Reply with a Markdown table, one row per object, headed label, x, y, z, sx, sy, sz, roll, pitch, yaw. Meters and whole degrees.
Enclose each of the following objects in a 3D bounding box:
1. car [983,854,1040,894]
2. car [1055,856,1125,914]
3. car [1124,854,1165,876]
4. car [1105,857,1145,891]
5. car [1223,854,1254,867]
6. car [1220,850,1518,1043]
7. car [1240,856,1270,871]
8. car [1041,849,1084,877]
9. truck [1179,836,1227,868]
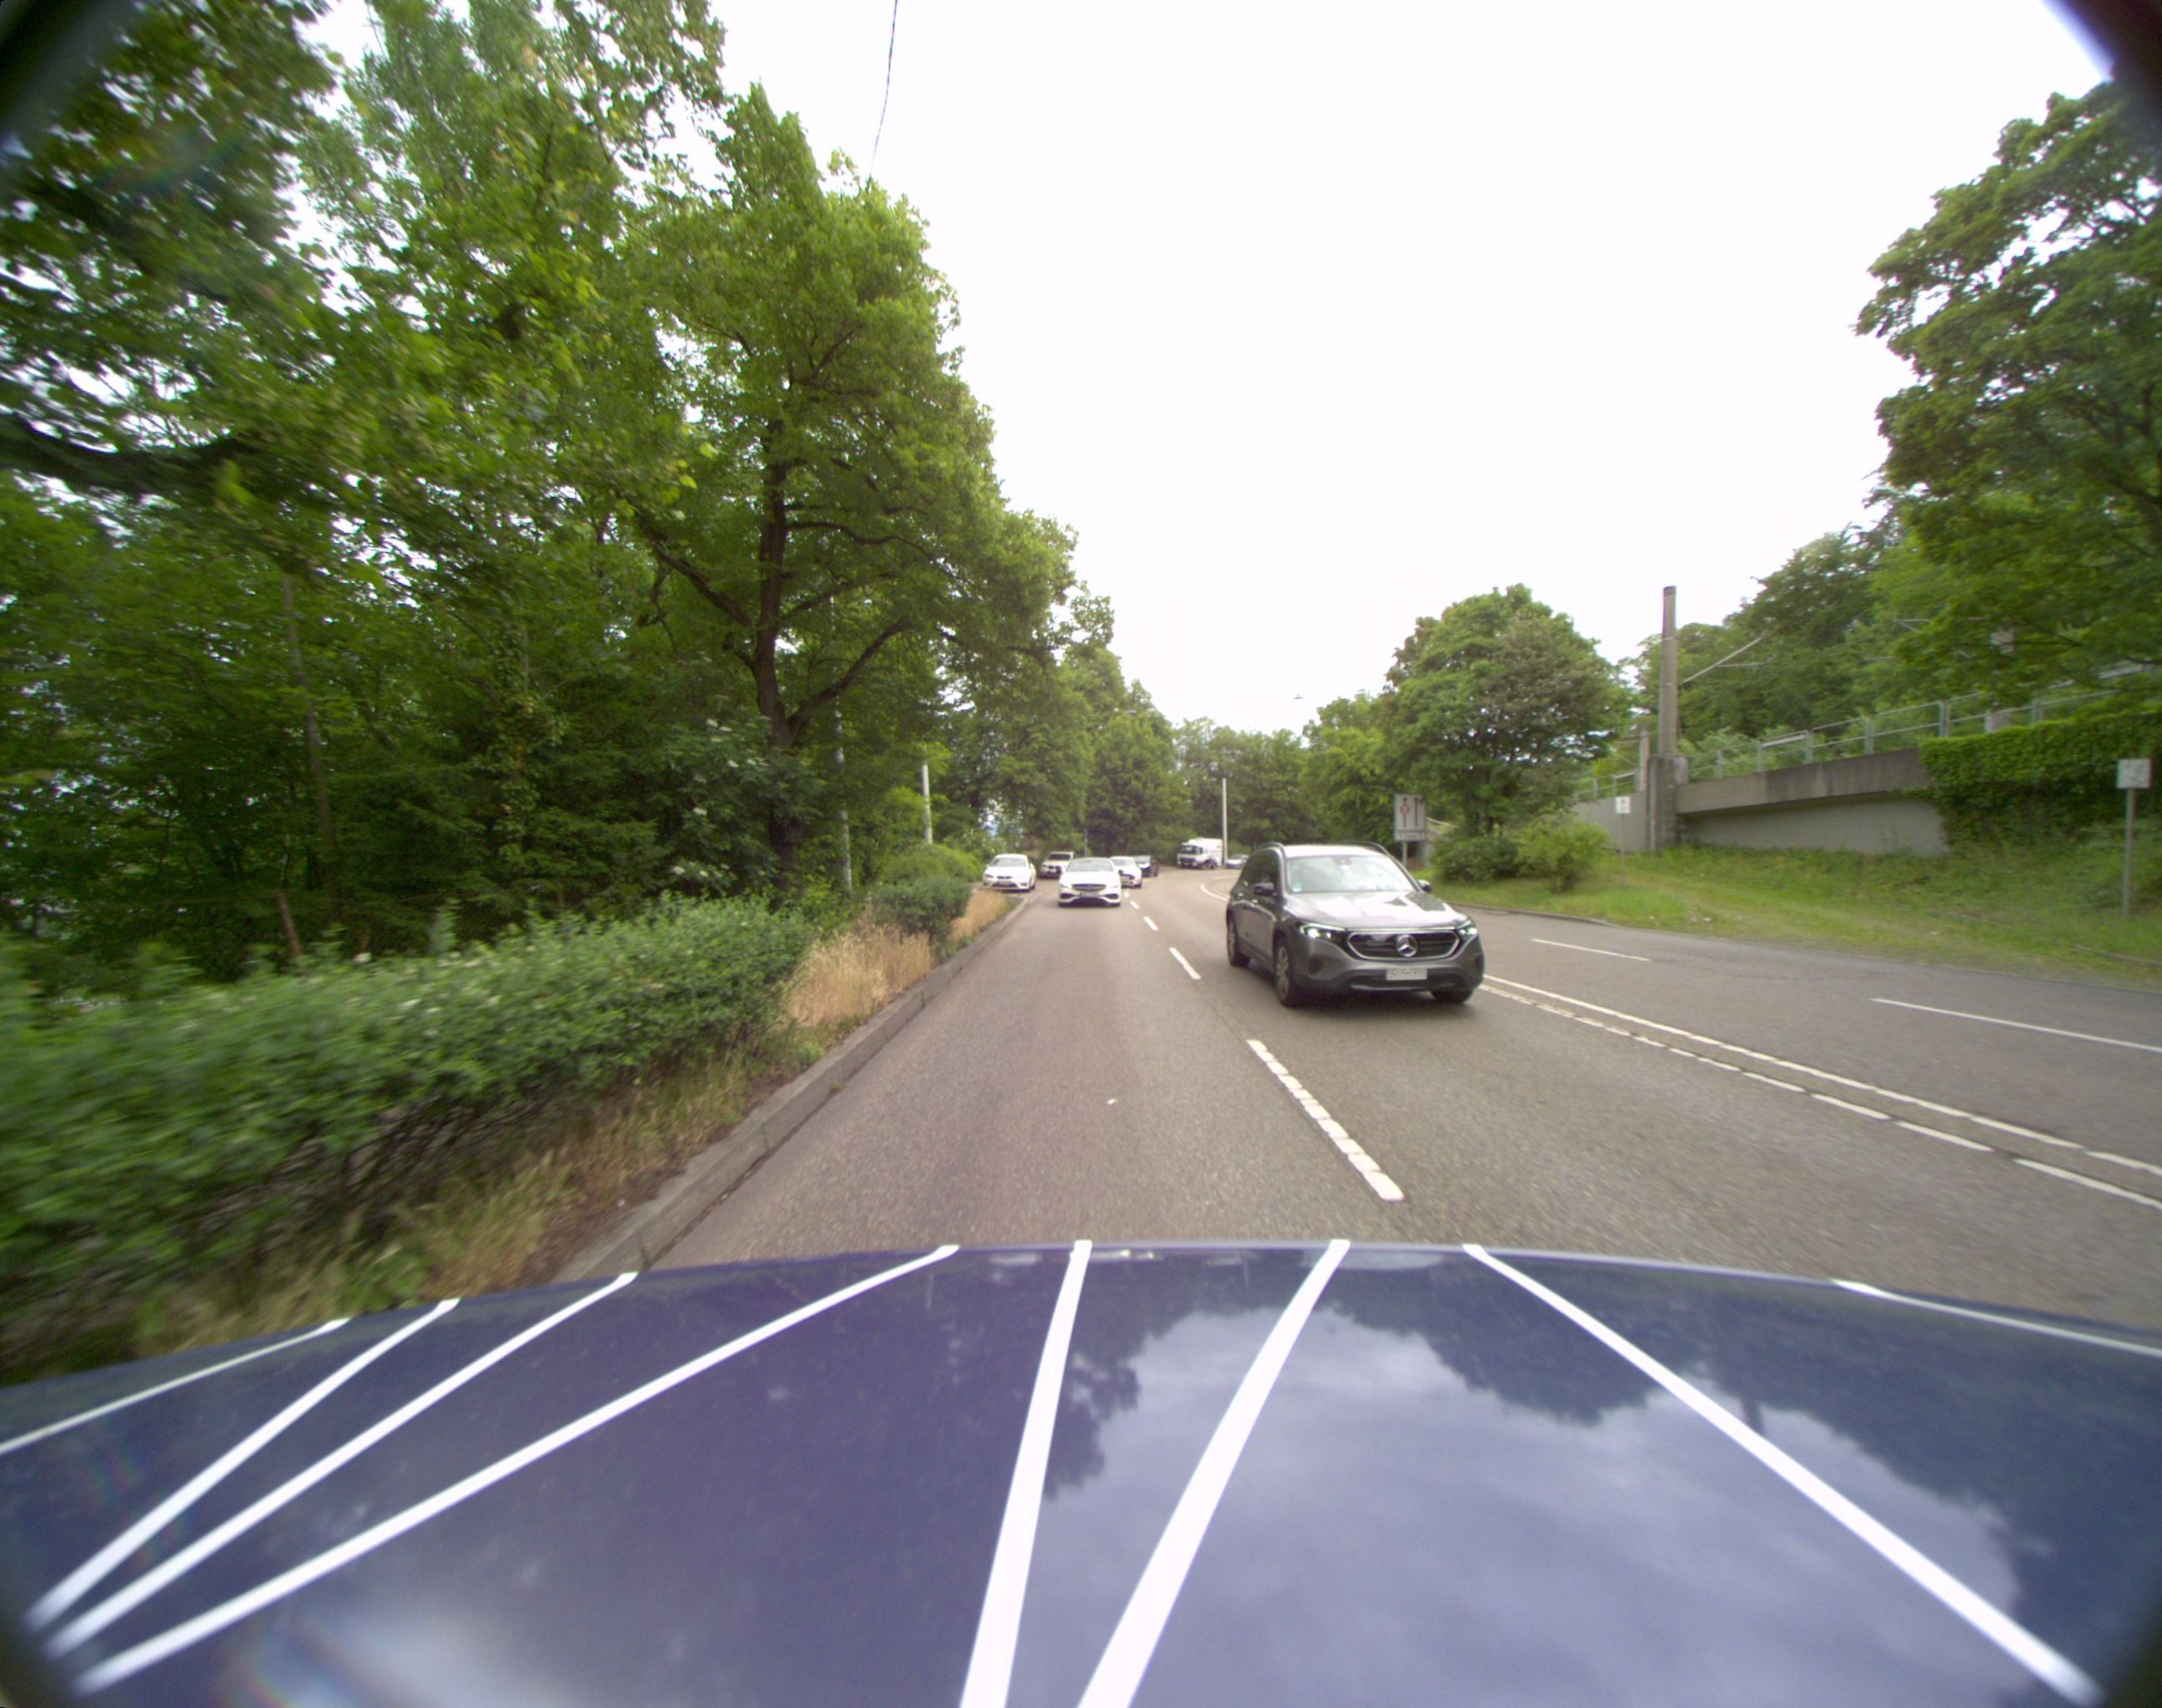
| label | x | y | z | sx | sy | sz | roll | pitch | yaw |
| --- | --- | --- | --- | --- | --- | --- | --- | --- | --- |
| car | -2.647 | 0.721 | 29.780 | 1.765 | 1.433 | 3.892 | 1 | 0 | 1 |
| car | 0.280 | 0.821 | 22.010 | 1.801 | 1.470 | 4.010 | 2 | 0 | 1 |
| car | 4.360 | 0.731 | 51.786 | 1.752 | 1.417 | 4.016 | 3 | 1 | 20 |
| car | 1.997 | 0.884 | 35.377 | 1.688 | 1.415 | 3.733 | -2 | 0 | 1 |
| car | 17.755 | 0.713 | 85.545 | 1.751 | 1.354 | 4.019 | 3 | 1 | 37 |
| car | 2.884 | 0.805 | 8.747 | 1.854 | 1.641 | 4.358 | -1 | 0 | 1 |
| car | 16.997 | 0.920 | 74.239 | 1.660 | 1.382 | 4.191 | 3 | 1 | 30 |
| car | -1.046 | 0.508 | 45.343 | 1.754 | 1.575 | 4.014 | 1 | 0 | 11 |
| truck | 12.547 | -0.150 | 77.767 | 2.195 | 3.137 | 6.665 | 1 | 0 | 33 |
